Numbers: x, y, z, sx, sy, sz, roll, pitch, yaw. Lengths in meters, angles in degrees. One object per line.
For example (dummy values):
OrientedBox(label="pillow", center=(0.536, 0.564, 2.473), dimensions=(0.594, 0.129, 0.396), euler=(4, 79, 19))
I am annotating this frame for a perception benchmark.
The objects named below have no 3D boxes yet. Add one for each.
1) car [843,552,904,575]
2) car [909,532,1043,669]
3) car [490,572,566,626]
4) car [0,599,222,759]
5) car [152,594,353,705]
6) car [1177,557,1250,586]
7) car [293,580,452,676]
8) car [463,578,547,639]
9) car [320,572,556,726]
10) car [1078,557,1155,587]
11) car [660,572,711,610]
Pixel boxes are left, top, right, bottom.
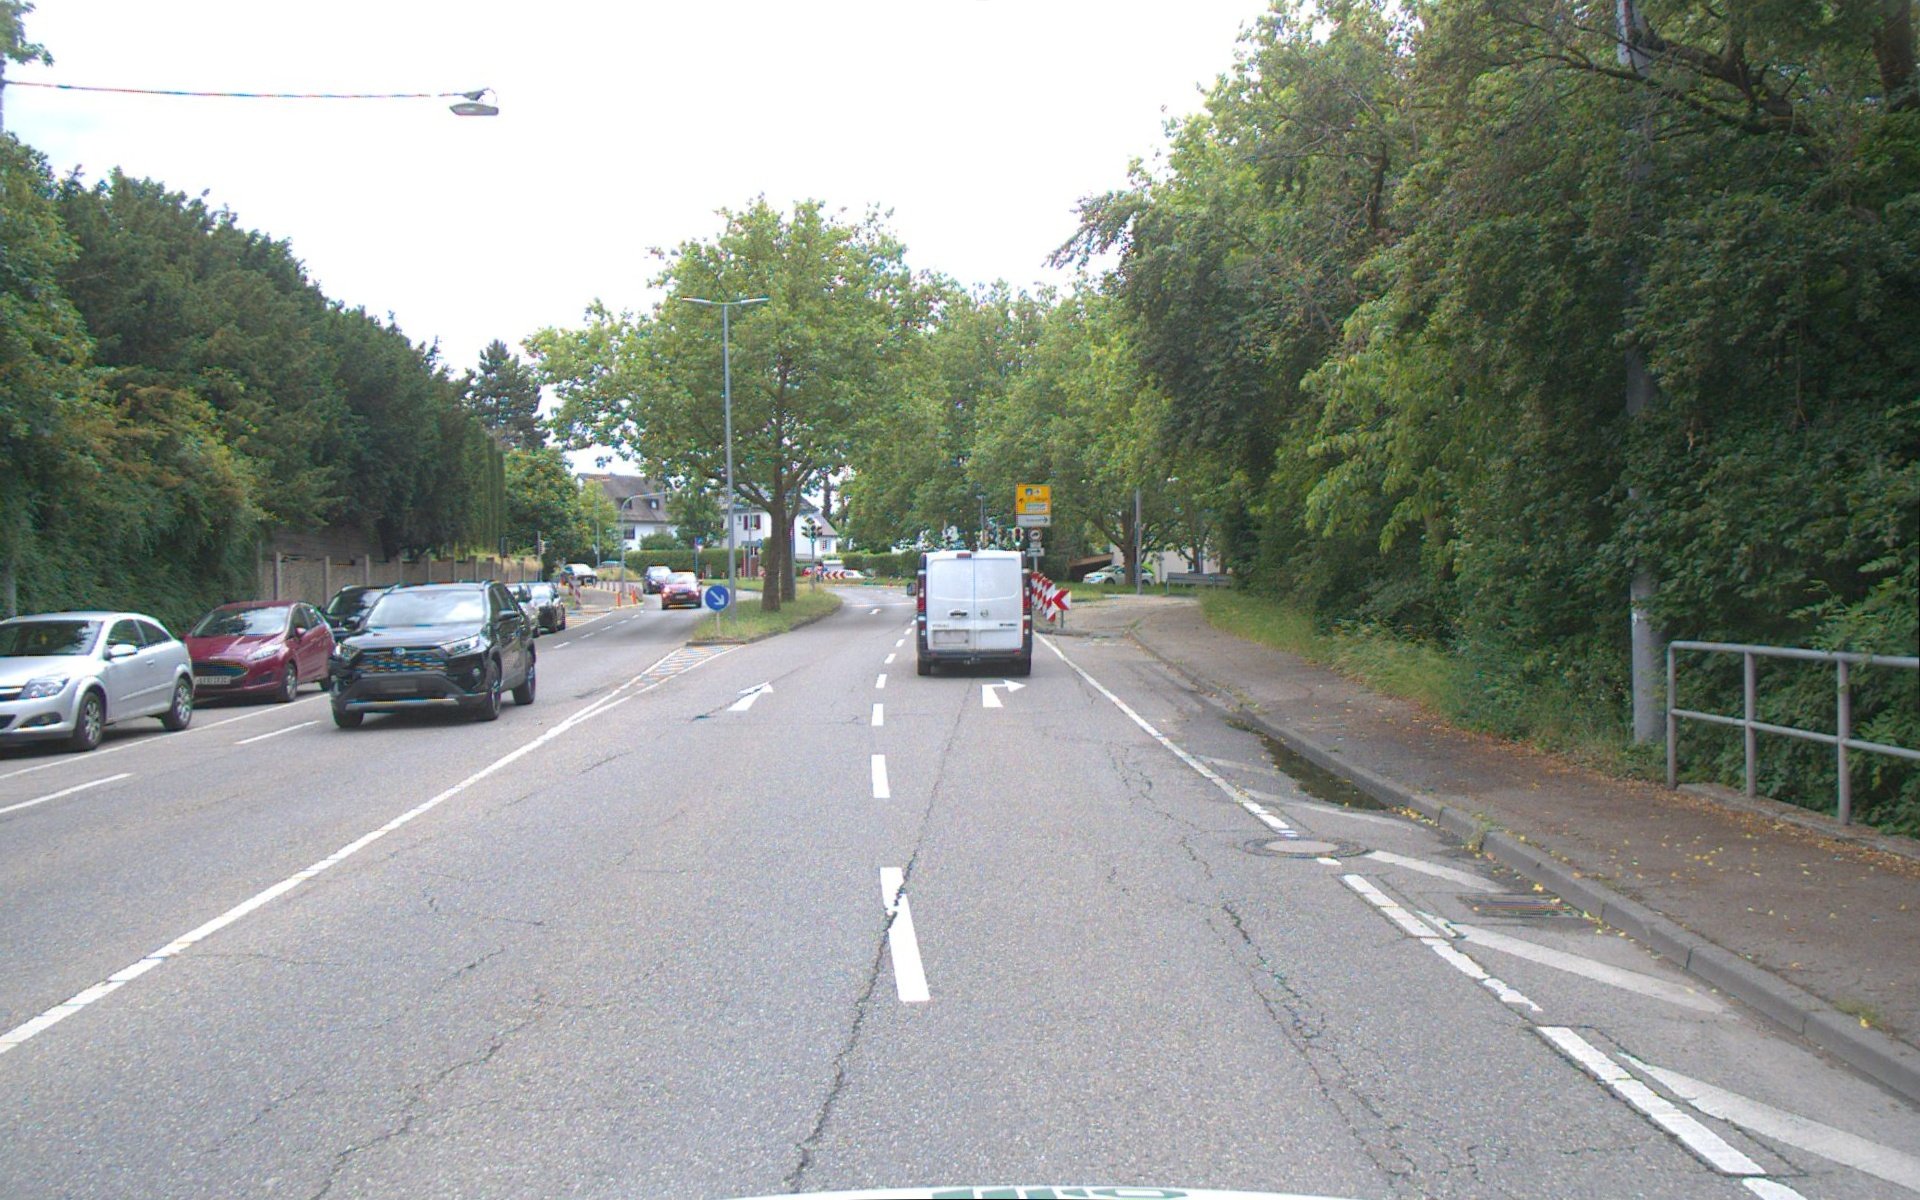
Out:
OrientedBox(label="car", center=(-7.032, -2.946, 134.486), dimensions=(4.645, 1.800, 1.995), euler=(0, 1, 33))
OrientedBox(label="car", center=(0.175, -0.001, 27.797), dimensions=(1.966, 2.073, 5.007), euler=(1, 0, -2))
OrientedBox(label="car", center=(-13.970, -0.053, 53.733), dimensions=(1.852, 1.653, 4.423), euler=(-1, 1, -8))
OrientedBox(label="car", center=(-9.874, 0.801, 18.469), dimensions=(1.637, 1.514, 4.425), euler=(-2, 1, -6))
OrientedBox(label="car", center=(-10.663, 0.689, 25.219), dimensions=(1.746, 1.463, 3.993), euler=(-2, 1, -7))
OrientedBox(label="car", center=(16.634, -1.860, 108.398), dimensions=(4.691, 1.800, 1.975), euler=(-2, 1, -36))
OrientedBox(label="car", center=(-11.314, 0.484, 32.162), dimensions=(1.956, 1.671, 4.459), euler=(-2, 1, -8))
OrientedBox(label="car", center=(-13.279, 0.215, 48.446), dimensions=(1.640, 1.619, 4.091), euler=(-3, 1, -6))
OrientedBox(label="car", center=(-6.363, 0.509, 20.649), dimensions=(1.806, 1.675, 4.210), euler=(-1, 1, -4))
OrientedBox(label="car", center=(9.791, -1.733, 103.190), dimensions=(4.691, 1.800, 1.975), euler=(-2, 1, -36))
OrientedBox(label="car", center=(-12.412, -0.414, 74.995), dimensions=(1.960, 1.615, 3.992), euler=(-2, 1, -6))
